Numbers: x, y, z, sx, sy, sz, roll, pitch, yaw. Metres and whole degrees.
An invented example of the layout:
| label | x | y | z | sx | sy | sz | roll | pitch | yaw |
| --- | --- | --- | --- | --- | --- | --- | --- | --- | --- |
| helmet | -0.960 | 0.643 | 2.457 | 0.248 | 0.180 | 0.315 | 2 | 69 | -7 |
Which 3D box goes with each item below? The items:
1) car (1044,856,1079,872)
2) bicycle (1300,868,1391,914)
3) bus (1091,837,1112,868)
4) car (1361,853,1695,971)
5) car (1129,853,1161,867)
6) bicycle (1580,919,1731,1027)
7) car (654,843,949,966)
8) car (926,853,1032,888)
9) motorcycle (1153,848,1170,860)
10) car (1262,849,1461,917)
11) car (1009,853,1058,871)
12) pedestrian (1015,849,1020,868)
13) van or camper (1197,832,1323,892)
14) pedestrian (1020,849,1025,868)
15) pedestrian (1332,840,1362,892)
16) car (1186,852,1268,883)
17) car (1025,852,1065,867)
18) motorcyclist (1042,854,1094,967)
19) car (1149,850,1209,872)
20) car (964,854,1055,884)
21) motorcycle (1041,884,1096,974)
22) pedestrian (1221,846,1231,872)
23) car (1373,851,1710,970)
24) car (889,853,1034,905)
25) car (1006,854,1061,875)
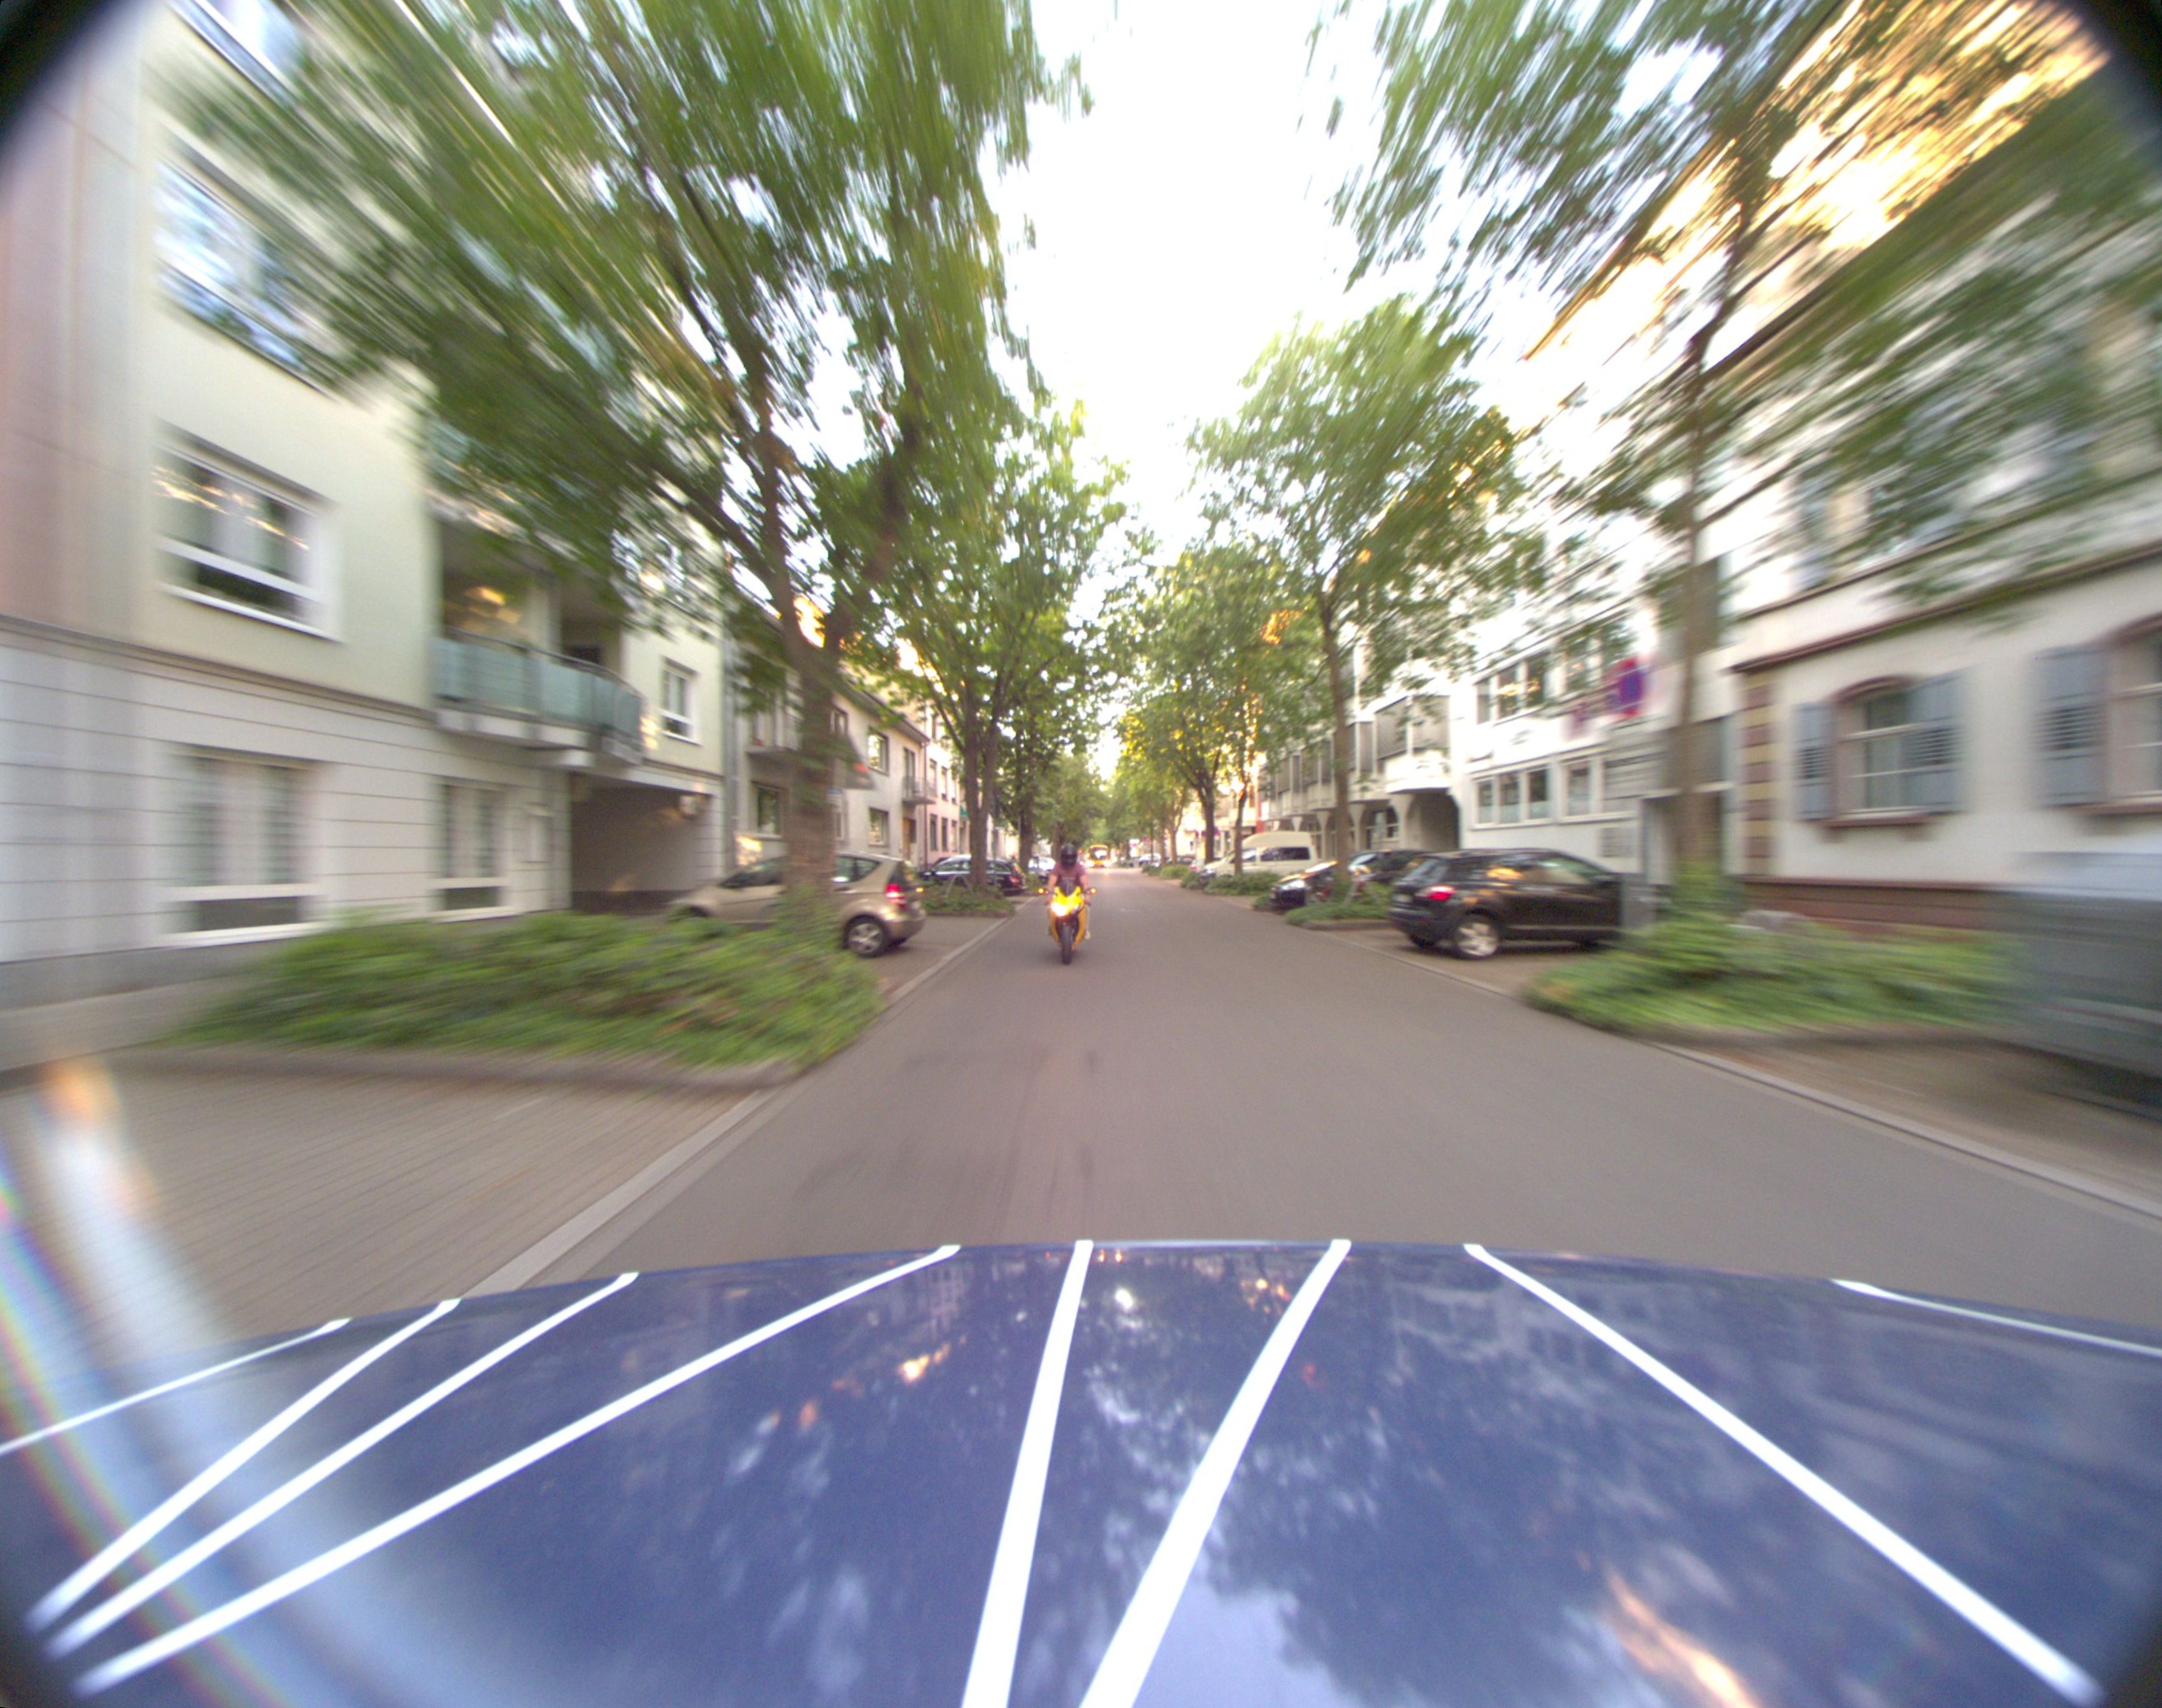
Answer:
| label | x | y | z | sx | sy | sz | roll | pitch | yaw |
| --- | --- | --- | --- | --- | --- | --- | --- | --- | --- |
| car | -2.304 | 1.169 | 89.876 | 3.998 | 1.752 | 2.000 | 0 | 0 | -2 |
| bicycle | 6.024 | 0.840 | 17.351 | 1.906 | 1.019 | 0.479 | 0 | 1 | -1 |
| bus | 2.787 | -0.218 | 106.291 | 2.833 | 4.086 | 7.831 | 0 | 0 | 1 |
| car | 6.575 | 0.811 | 11.505 | 3.997 | 1.579 | 1.828 | -1 | 0 | -1 |
| car | 8.033 | 0.728 | 95.710 | 3.858 | 1.623 | 1.675 | 1 | 0 | 1 |
| bicycle | 5.830 | 1.167 | 7.703 | 1.563 | 0.931 | 0.483 | 0 | 1 | -22 |
| car | -4.229 | 0.727 | 11.978 | 3.872 | 1.657 | 1.926 | 2 | 0 | 1 |
| car | -4.523 | 0.731 | 34.194 | 4.456 | 1.515 | 1.952 | 0 | 0 | 2 |
| motorcycle | 8.095 | -0.013 | 76.156 | 1.626 | 1.136 | 0.572 | -2 | 1 | 3 |
| car | 7.136 | 0.706 | 19.589 | 4.548 | 1.673 | 1.621 | 0 | 0 | -3 |
| car | -3.882 | 0.620 | 62.377 | 3.857 | 1.390 | 1.675 | 1 | 0 | 4 |
| pedestrian | -6.766 | 0.513 | 80.871 | 0.449 | 2.002 | 0.485 | 0 | 1 | 1 |
| van or camper | 7.378 | 0.322 | 31.736 | 4.829 | 2.413 | 1.945 | 0 | 0 | 1 |
| pedestrian | -6.210 | 0.473 | 80.996 | 0.449 | 2.002 | 0.485 | 0 | 1 | 1 |
| pedestrian | 10.452 | 0.467 | 29.881 | 0.942 | 2.002 | 0.839 | 0 | 1 | 5 |
| car | 7.637 | 0.704 | 39.928 | 4.062 | 1.519 | 1.622 | -1 | 0 | 4 |
| car | -3.604 | 0.530 | 75.906 | 3.858 | 1.390 | 1.675 | 1 | 0 | 1 |
| motorcyclist | -0.197 | 0.810 | 11.379 | 0.722 | 1.605 | 0.915 | -1 | 1 | -2 |
| car | 7.830 | 0.553 | 60.890 | 4.475 | 1.748 | 1.791 | 0 | 0 | -2 |
| car | -3.738 | 0.785 | 40.377 | 4.594 | 1.461 | 1.696 | 1 | 0 | 2 |
| motorcycle | -0.198 | 1.059 | 11.367 | 0.736 | 1.115 | 2.108 | -1 | 0 | -2 |
| pedestrian | 9.664 | 0.321 | 50.498 | 0.637 | 1.734 | 0.679 | 0 | 1 | 10 |
| car | 6.756 | 0.790 | 11.484 | 3.997 | 1.582 | 1.789 | -1 | 0 | 1 |
| car | -3.867 | 0.796 | 25.017 | 4.366 | 1.461 | 1.732 | 2 | 0 | 6 |
| car | -3.388 | 0.766 | 54.221 | 3.859 | 1.390 | 1.674 | 1 | 0 | -3 |
